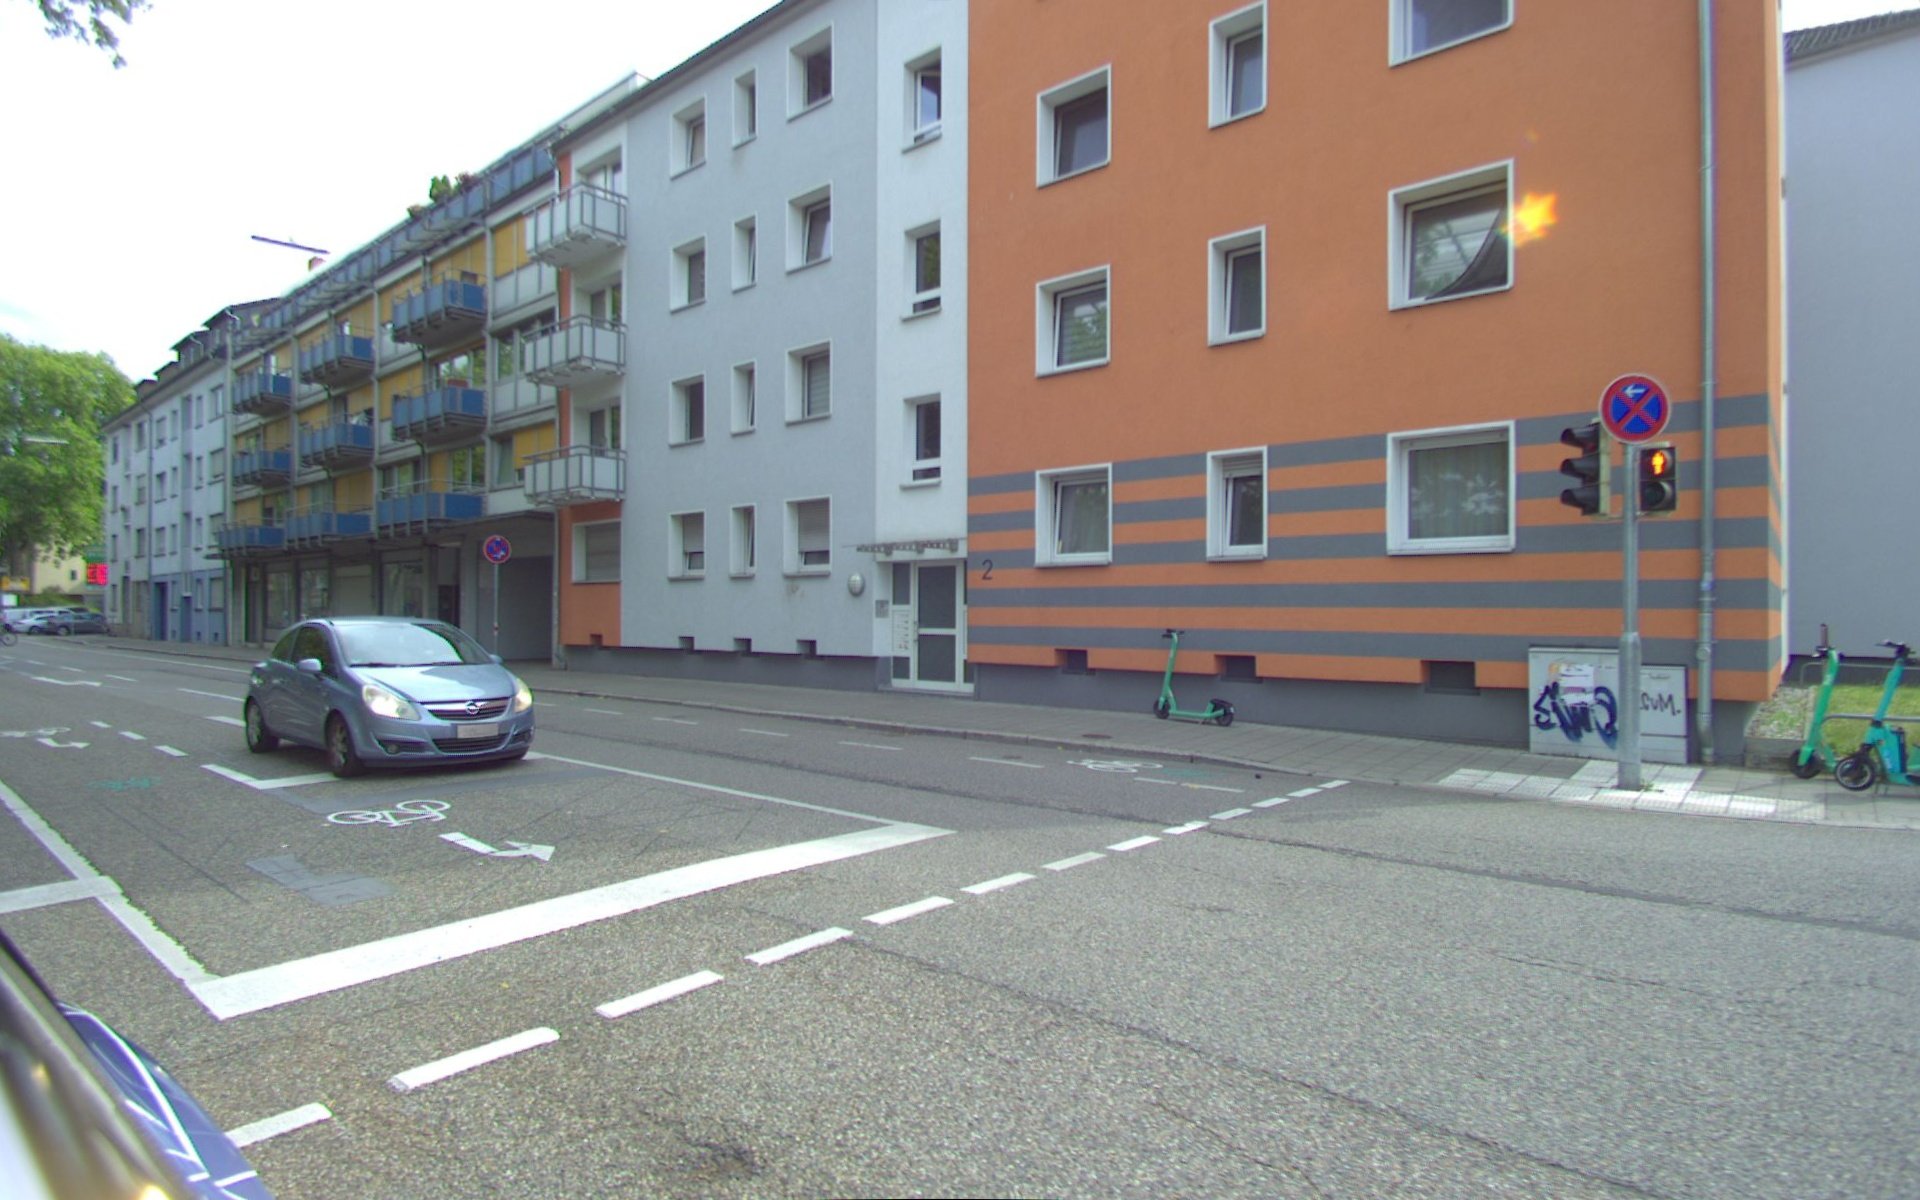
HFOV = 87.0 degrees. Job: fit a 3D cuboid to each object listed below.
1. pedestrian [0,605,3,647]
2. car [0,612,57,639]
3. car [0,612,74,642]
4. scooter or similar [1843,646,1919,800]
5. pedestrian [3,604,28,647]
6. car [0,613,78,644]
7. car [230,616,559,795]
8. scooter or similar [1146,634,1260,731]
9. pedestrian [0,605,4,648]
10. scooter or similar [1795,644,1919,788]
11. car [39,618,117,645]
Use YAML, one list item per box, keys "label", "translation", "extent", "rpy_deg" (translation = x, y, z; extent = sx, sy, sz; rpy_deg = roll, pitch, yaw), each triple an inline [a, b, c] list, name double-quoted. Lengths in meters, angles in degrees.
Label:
- label: "pedestrian"
  translation: [-47.497, 1.279, 49.562]
  extent: [0.831, 2.029, 0.875]
  rpy_deg: [-1, 0, -45]
- label: "car"
  translation: [-73.758, 2.005, 79.468]
  extent: [1.999, 2.029, 3.946]
  rpy_deg: [-1, 0, 40]
- label: "car"
  translation: [-66.878, 1.944, 73.209]
  extent: [1.999, 2.029, 3.946]
  rpy_deg: [-1, 0, 40]
- label: "scooter or similar"
  translation: [7.832, 0.963, 7.907]
  extent: [1.337, 1.188, 0.327]
  rpy_deg: [-1, 0, 28]
- label: "pedestrian"
  translation: [-45.382, 1.236, 48.621]
  extent: [0.831, 2.029, 0.875]
  rpy_deg: [-1, 0, -45]
- label: "car"
  translation: [-65.069, 1.983, 71.483]
  extent: [1.999, 2.029, 3.946]
  rpy_deg: [-1, 0, 40]
- label: "car"
  translation: [-5.732, 0.889, 10.084]
  extent: [3.818, 1.449, 1.651]
  rpy_deg: [-1, -2, 41]
- label: "scooter or similar"
  translation: [3.009, 1.001, 12.609]
  extent: [1.353, 1.132, 0.364]
  rpy_deg: [-1, 0, 42]
- label: "pedestrian"
  translation: [-45.857, 1.250, 47.901]
  extent: [0.831, 2.029, 0.875]
  rpy_deg: [-1, 0, -45]
- label: "scooter or similar"
  translation: [7.942, 0.968, 8.521]
  extent: [1.348, 1.166, 0.327]
  rpy_deg: [-1, 0, 28]
- label: "car"
  translation: [-60.573, 2.153, 69.548]
  extent: [1.881, 1.701, 3.821]
  rpy_deg: [-1, 0, 40]
